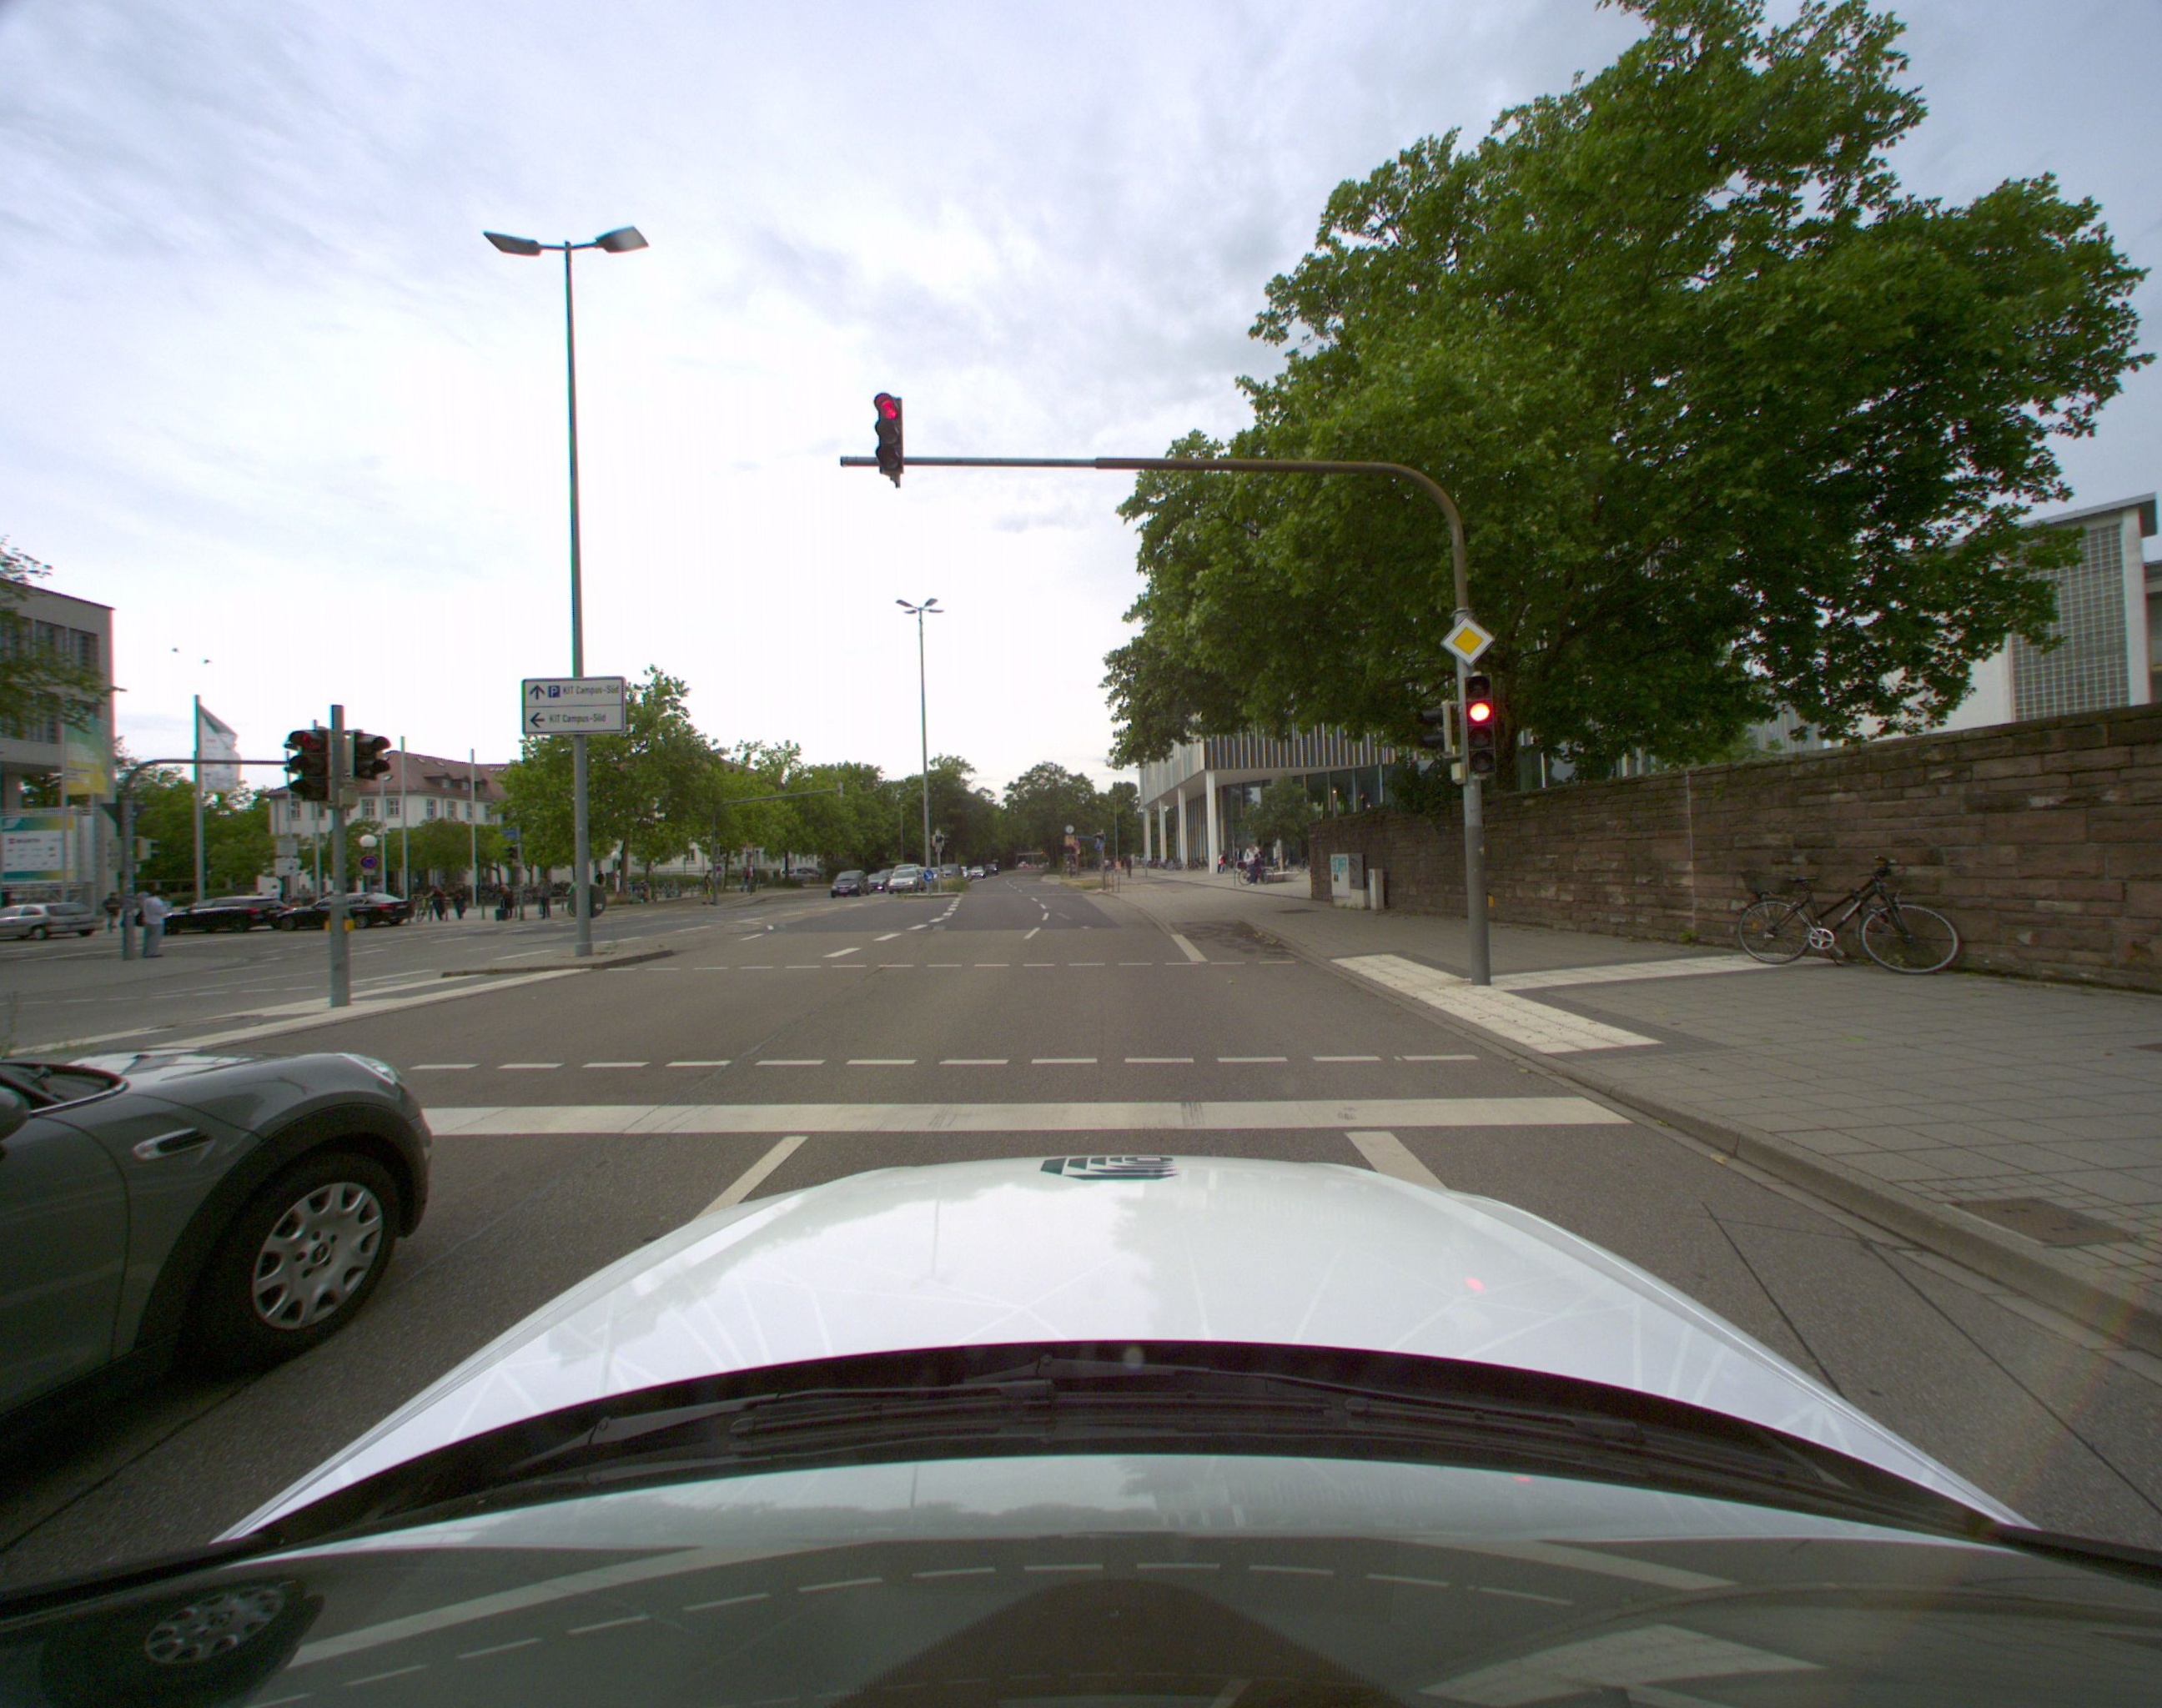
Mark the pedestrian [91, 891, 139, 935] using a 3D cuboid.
[{"bbox_3d":[-46.622,2.814,39.315,1.000,2.014,1.016,-2,-1,-3],"label":"pedestrian"}]

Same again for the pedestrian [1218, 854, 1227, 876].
[{"bbox_3d":[10.789,0.838,62.079,0.671,1.641,0.656,-2,-1,10],"label":"pedestrian"}]

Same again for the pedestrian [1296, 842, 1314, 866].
[{"bbox_3d":[19.620,-0.029,71.227,1.170,2.062,1.142,-1,-1,33],"label":"pedestrian"}]

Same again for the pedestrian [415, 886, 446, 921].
[{"bbox_3d":[-28.928,2.188,36.238,0.825,1.513,0.968,0,-1,-22],"label":"pedestrian"}]

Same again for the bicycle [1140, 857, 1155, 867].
[{"bbox_3d":[8.655,1.052,106.592,1.791,1.082,0.625,-4,0,-4],"label":"bicycle"}]

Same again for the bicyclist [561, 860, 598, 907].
[{"bbox_3d":[-22.205,1.289,36.111,1.185,2.014,1.272,0,-1,-22],"label":"bicyclist"}]

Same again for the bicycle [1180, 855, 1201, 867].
[{"bbox_3d":[11.472,0.744,85.388,1.962,1.144,0.652,-5,0,39],"label":"bicycle"}]

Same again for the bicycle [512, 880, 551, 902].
[{"bbox_3d":[-41.885,2.832,62.098,2.639,1.559,0.926,-3,-1,15],"label":"bicycle"}]

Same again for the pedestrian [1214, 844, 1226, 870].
[{"bbox_3d":[10.759,0.220,62.901,0.645,2.014,0.653,-2,-1,-11],"label":"pedestrian"}]

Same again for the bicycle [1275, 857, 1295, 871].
[{"bbox_3d":[14.644,0.736,58.490,0.663,0.899,1.857,-3,-1,39],"label":"bicycle"}]

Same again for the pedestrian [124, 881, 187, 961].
[{"bbox_3d":[-25.119,1.803,22.117,0.664,2.058,0.852,-2,0,-2],"label":"pedestrian"}]

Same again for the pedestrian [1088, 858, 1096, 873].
[{"bbox_3d":[1.446,1.528,110.631,0.924,2.014,1.037,-2,-1,-7],"label":"pedestrian"}]

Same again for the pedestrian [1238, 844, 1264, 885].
[{"bbox_3d":[7.643,0.457,36.657,0.773,1.795,0.795,-3,-1,41],"label":"pedestrian"}]

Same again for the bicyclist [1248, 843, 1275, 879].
[{"bbox_3d":[8.285,0.309,37.412,0.957,1.645,0.740,-1,-1,37],"label":"bicyclist"}]

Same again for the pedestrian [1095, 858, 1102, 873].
[{"bbox_3d":[2.341,1.533,110.774,0.823,2.014,0.718,-2,-1,-7],"label":"pedestrian"}]

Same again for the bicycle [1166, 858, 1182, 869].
[{"bbox_3d":[9.746,0.998,85.222,1.636,1.091,0.573,-5,-1,6],"label":"bicycle"}]

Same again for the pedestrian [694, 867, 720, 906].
[{"bbox_3d":[-20.012,1.703,43.575,0.892,2.014,1.008,-2,-1,-4],"label":"pedestrian"}]

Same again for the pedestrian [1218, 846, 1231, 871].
[{"bbox_3d":[12.213,0.391,69.216,0.889,2.014,0.845,-2,-1,-2],"label":"pedestrian"}]

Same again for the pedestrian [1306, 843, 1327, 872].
[{"bbox_3d":[15.252,0.222,52.762,0.848,1.836,0.885,-2,-1,-34],"label":"pedestrian"}]

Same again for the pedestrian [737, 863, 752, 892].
[{"bbox_3d":[-23.621,1.648,57.157,0.801,2.014,0.923,0,-1,-9],"label":"pedestrian"}]

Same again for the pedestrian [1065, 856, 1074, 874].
[{"bbox_3d":[-1.341,1.305,94.970,0.910,2.013,0.853,-4,1,-3],"label":"pedestrian"}]

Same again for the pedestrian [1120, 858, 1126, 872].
[{"bbox_3d":[5.301,1.390,102.758,0.726,1.684,0.747,0,-1,1],"label":"pedestrian"}]

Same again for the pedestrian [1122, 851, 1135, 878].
[{"bbox_3d":[3.718,0.838,64.146,0.840,2.013,0.894,-4,-1,-1],"label":"pedestrian"}]

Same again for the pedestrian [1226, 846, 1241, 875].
[{"bbox_3d":[10.854,0.467,57.894,0.840,2.014,0.894,-2,-1,-1],"label":"pedestrian"}]

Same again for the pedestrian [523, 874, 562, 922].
[{"bbox_3d":[-23.010,1.858,34.812,1.185,2.014,1.134,0,-1,-22],"label":"pedestrian"}]

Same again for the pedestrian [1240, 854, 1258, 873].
[{"bbox_3d":[11.164,0.602,54.025,0.834,1.206,0.900,-3,-1,32],"label":"pedestrian"}]

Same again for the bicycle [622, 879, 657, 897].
[{"bbox_3d":[-31.196,2.424,57.554,2.036,1.153,0.717,-2,-1,-20],"label":"bicycle"}]

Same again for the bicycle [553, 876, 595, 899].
[{"bbox_3d":[-37.862,2.499,60.877,2.447,1.559,0.918,-2,-1,-13],"label":"bicycle"}]

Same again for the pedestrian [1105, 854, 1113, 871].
[{"bbox_3d":[3.495,1.082,102.138,0.923,2.014,1.039,-2,-1,-2],"label":"pedestrian"}]

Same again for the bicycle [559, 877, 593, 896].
[{"bbox_3d":[-44.373,2.841,71.569,2.639,1.559,0.926,-2,-1,15],"label":"bicycle"}]

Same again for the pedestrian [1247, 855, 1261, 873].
[{"bbox_3d":[11.595,0.682,54.641,0.885,1.193,0.848,-2,-1,12],"label":"pedestrian"}]

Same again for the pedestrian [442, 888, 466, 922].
[{"bbox_3d":[-28.163,2.279,36.594,0.702,1.428,0.991,0,-1,-30],"label":"pedestrian"}]

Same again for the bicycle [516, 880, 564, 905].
[{"bbox_3d":[-37.321,2.646,56.215,2.657,1.559,0.779,-2,-1,-8],"label":"bicycle"}]

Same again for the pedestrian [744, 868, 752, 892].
[{"bbox_3d":[-24.228,1.883,59.220,0.419,1.739,0.433,0,-1,-9],"label":"pedestrian"}]

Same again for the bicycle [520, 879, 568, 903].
[{"bbox_3d":[-38.210,2.657,58.019,2.661,1.559,0.918,-2,-1,-13],"label":"bicycle"}]
